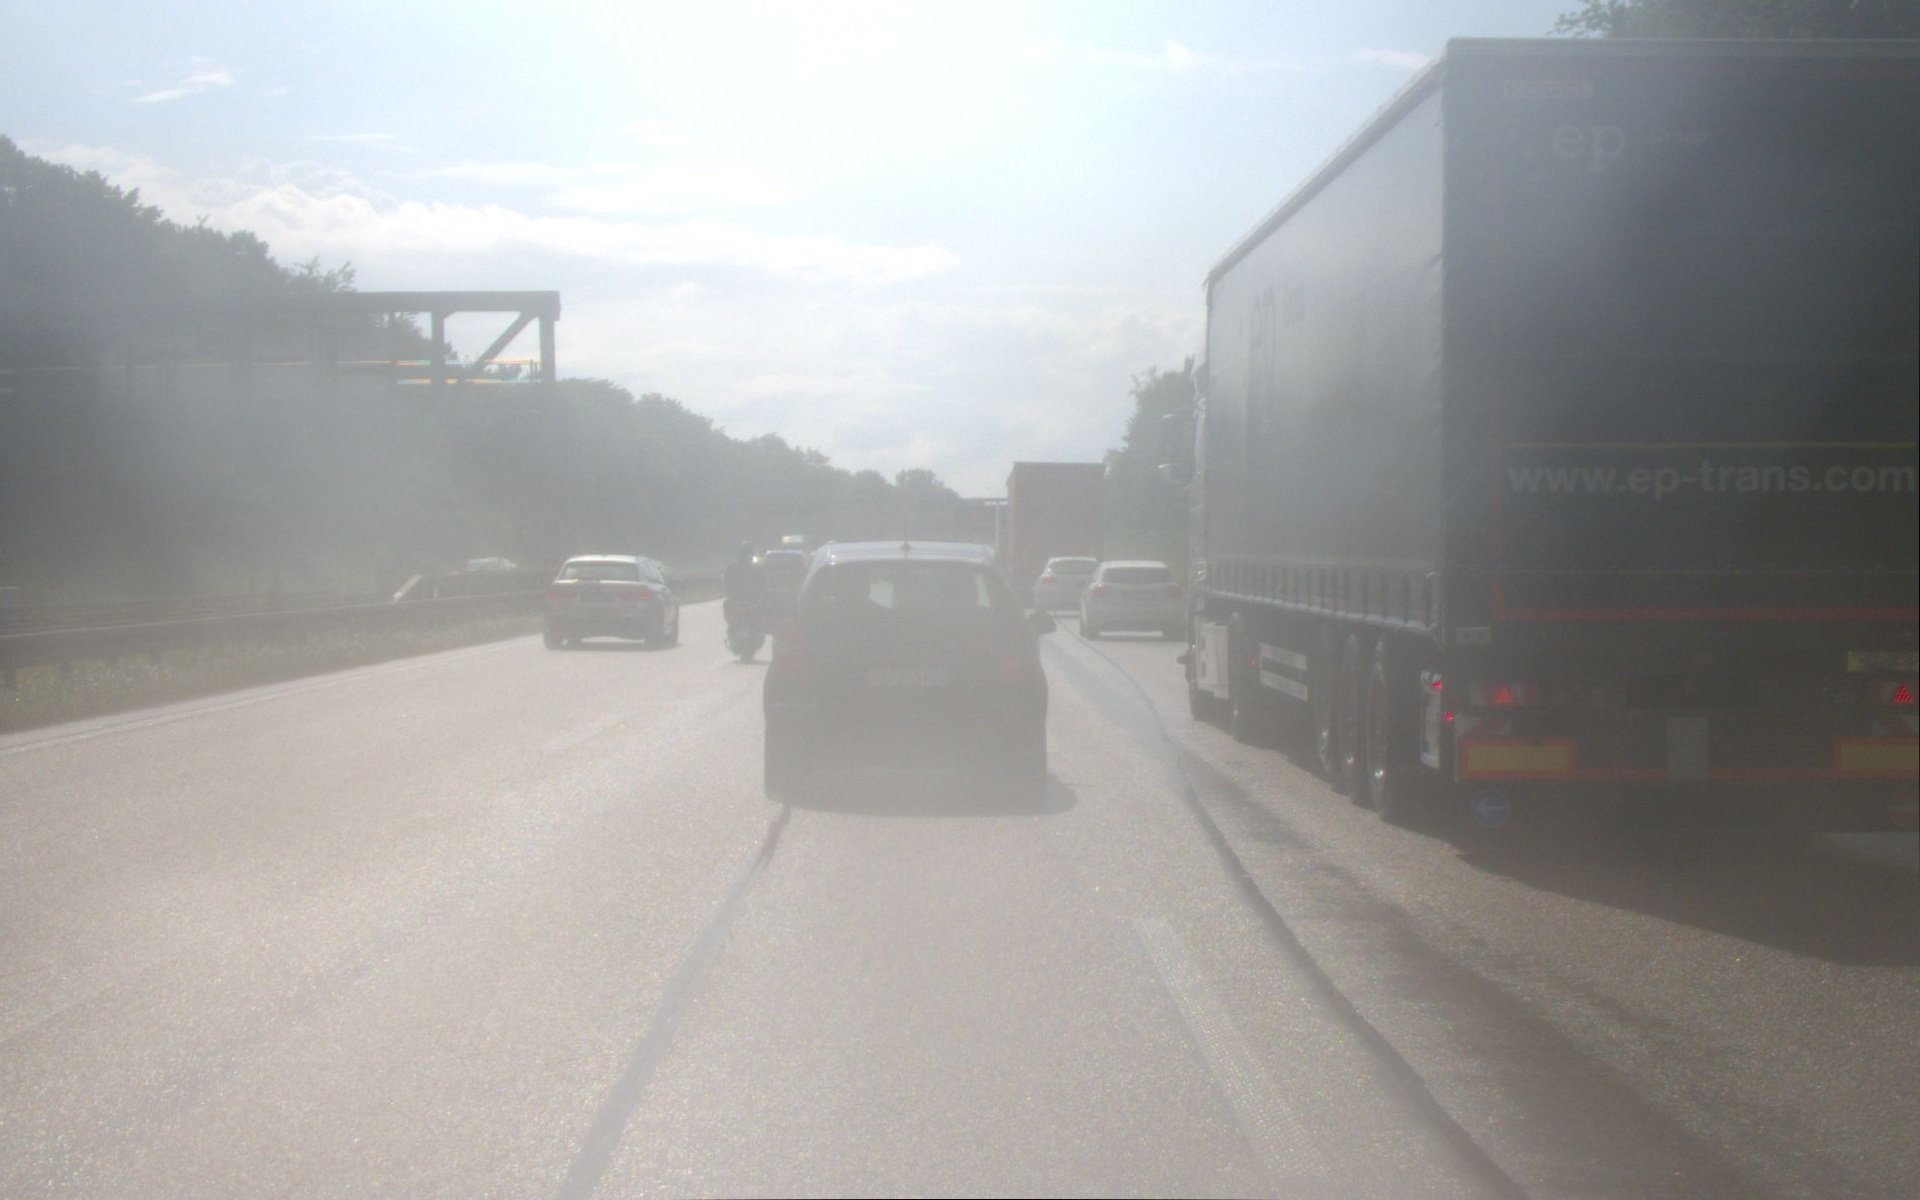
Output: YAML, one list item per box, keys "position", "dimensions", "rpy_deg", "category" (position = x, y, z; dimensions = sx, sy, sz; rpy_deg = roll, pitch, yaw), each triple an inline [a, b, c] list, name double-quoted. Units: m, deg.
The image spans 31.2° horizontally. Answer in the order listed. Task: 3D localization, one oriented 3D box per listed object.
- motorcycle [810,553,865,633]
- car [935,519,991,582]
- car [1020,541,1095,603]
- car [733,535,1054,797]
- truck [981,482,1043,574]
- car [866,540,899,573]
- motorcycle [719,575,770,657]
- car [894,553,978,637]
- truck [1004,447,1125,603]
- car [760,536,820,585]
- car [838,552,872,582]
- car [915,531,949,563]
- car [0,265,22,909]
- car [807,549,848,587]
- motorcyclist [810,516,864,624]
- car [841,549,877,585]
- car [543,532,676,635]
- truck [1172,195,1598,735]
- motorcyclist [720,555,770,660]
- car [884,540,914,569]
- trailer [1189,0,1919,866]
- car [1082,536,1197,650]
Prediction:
- position: [-2.025, -0.127, 56.535]
  dimensions: [0.819, 1.258, 2.118]
  rpy_deg: [1, 1, -4]
  category: "motorcycle"
- position: [0.077, -1.562, 108.126]
  dimensions: [1.675, 1.929, 3.774]
  rpy_deg: [0, 1, -1]
  category: "car"
- position: [2.357, -0.696, 83.738]
  dimensions: [1.675, 1.485, 3.437]
  rpy_deg: [0, 1, -1]
  category: "car"
- position: [-0.440, 0.364, 22.737]
  dimensions: [1.915, 1.560, 4.314]
  rpy_deg: [0, 1, -1]
  category: "car"
- position: [2.698, -3.720, 181.757]
  dimensions: [2.882, 4.671, 12.659]
  rpy_deg: [1, 1, -1]
  category: "truck"
- position: [-4.778, -2.665, 211.361]
  dimensions: [1.993, 2.007, 4.000]
  rpy_deg: [1, 0, -1]
  category: "car"
- position: [-2.990, 0.210, 47.703]
  dimensions: [0.676, 1.083, 1.982]
  rpy_deg: [1, 1, -4]
  category: "motorcycle"
- position: [-0.609, -0.134, 85.360]
  dimensions: [1.993, 2.007, 4.000]
  rpy_deg: [1, 0, -1]
  category: "car"
- position: [3.012, -2.185, 101.789]
  dimensions: [3.202, 4.389, 9.432]
  rpy_deg: [0, 1, 0]
  category: "truck"
- position: [-5.758, -1.346, 116.514]
  dimensions: [1.893, 1.622, 4.195]
  rpy_deg: [0, 1, -1]
  category: "car"
- position: [-5.263, -1.652, 172.710]
  dimensions: [1.675, 1.485, 3.437]
  rpy_deg: [0, 1, -1]
  category: "car"
- position: [-1.373, -2.563, 166.468]
  dimensions: [1.631, 1.485, 3.437]
  rpy_deg: [0, 1, -1]
  category: "car"
- position: [-4.890, -0.019, 11.517]
  dimensions: [2.015, 2.639, 5.777]
  rpy_deg: [0, 1, -1]
  category: "car"
- position: [-5.669, -1.375, 146.922]
  dimensions: [1.675, 1.591, 3.437]
  rpy_deg: [0, 1, -1]
  category: "car"
- position: [-2.020, -0.495, 56.462]
  dimensions: [0.821, 1.754, 1.390]
  rpy_deg: [1, 0, -4]
  category: "motorcyclist"
- position: [-5.713, -1.888, 195.456]
  dimensions: [1.993, 2.007, 4.000]
  rpy_deg: [1, 0, -1]
  category: "car"
- position: [-5.594, -0.285, 55.239]
  dimensions: [1.758, 1.589, 4.331]
  rpy_deg: [0, 1, -1]
  category: "car"
- position: [3.593, -1.112, 30.563]
  dimensions: [3.052, 4.310, 5.886]
  rpy_deg: [1, 0, 0]
  category: "truck"
- position: [-2.990, 0.095, 47.767]
  dimensions: [0.670, 1.437, 1.020]
  rpy_deg: [1, 0, -4]
  category: "motorcyclist"
- position: [-4.201, -3.111, 235.739]
  dimensions: [1.993, 2.007, 4.000]
  rpy_deg: [1, 0, -1]
  category: "car"
- position: [3.576, -0.994, 23.371]
  dimensions: [3.088, 4.298, 14.105]
  rpy_deg: [0, 1, 0]
  category: "trailer"
- position: [3.241, -0.142, 62.790]
  dimensions: [1.849, 2.007, 4.087]
  rpy_deg: [1, 0, 0]
  category: "car"
